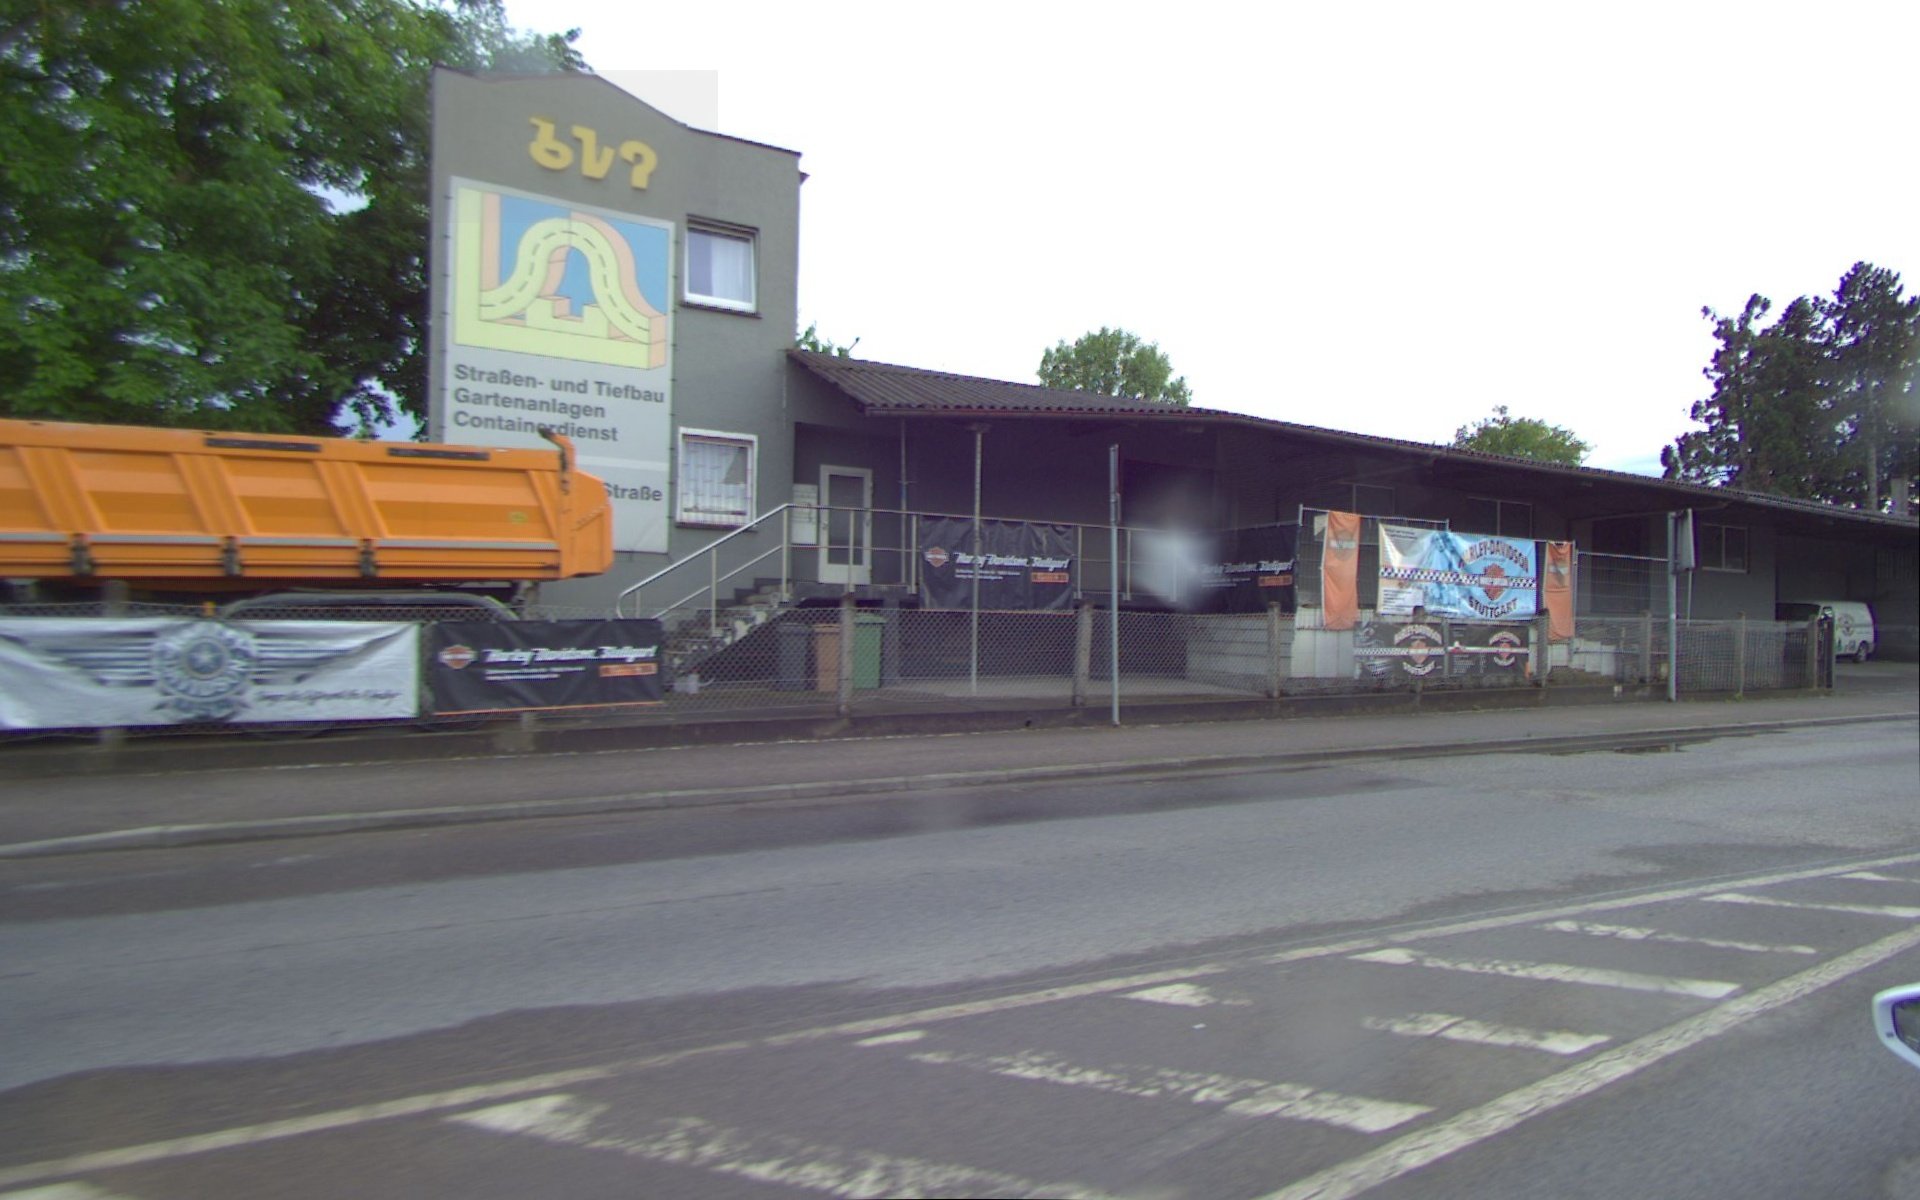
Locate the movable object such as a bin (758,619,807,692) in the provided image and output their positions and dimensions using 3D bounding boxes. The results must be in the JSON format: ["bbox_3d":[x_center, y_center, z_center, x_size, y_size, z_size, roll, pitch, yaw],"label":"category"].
[{"bbox_3d":[-2.480,0.762,14.024,0.455,0.969,0.745,1,0,-29],"label":"movable object such as a bin"}]

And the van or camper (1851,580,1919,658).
[{"bbox_3d":[32.717,0.723,34.222,5.172,2.470,1.850,3,1,-30],"label":"van or camper"}]

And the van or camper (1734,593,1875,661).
[{"bbox_3d":[26.481,0.844,31.467,4.420,1.934,1.984,2,1,-31],"label":"van or camper"}]

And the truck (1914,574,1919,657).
[{"bbox_3d":[37.785,0.699,36.727,5.883,2.966,2.384,2,1,-28],"label":"truck"}]

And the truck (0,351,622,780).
[{"bbox_3d":[-8.094,-0.294,9.420,8.952,3.457,2.689,3,0,-26],"label":"truck"}]

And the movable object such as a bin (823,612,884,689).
[{"bbox_3d":[-1.548,0.710,14.539,0.616,1.070,0.760,1,0,-29],"label":"movable object such as a bin"}]

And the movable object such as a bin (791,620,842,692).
[{"bbox_3d":[-2.037,0.782,14.253,0.472,0.969,0.760,1,0,-29],"label":"movable object such as a bin"}]
